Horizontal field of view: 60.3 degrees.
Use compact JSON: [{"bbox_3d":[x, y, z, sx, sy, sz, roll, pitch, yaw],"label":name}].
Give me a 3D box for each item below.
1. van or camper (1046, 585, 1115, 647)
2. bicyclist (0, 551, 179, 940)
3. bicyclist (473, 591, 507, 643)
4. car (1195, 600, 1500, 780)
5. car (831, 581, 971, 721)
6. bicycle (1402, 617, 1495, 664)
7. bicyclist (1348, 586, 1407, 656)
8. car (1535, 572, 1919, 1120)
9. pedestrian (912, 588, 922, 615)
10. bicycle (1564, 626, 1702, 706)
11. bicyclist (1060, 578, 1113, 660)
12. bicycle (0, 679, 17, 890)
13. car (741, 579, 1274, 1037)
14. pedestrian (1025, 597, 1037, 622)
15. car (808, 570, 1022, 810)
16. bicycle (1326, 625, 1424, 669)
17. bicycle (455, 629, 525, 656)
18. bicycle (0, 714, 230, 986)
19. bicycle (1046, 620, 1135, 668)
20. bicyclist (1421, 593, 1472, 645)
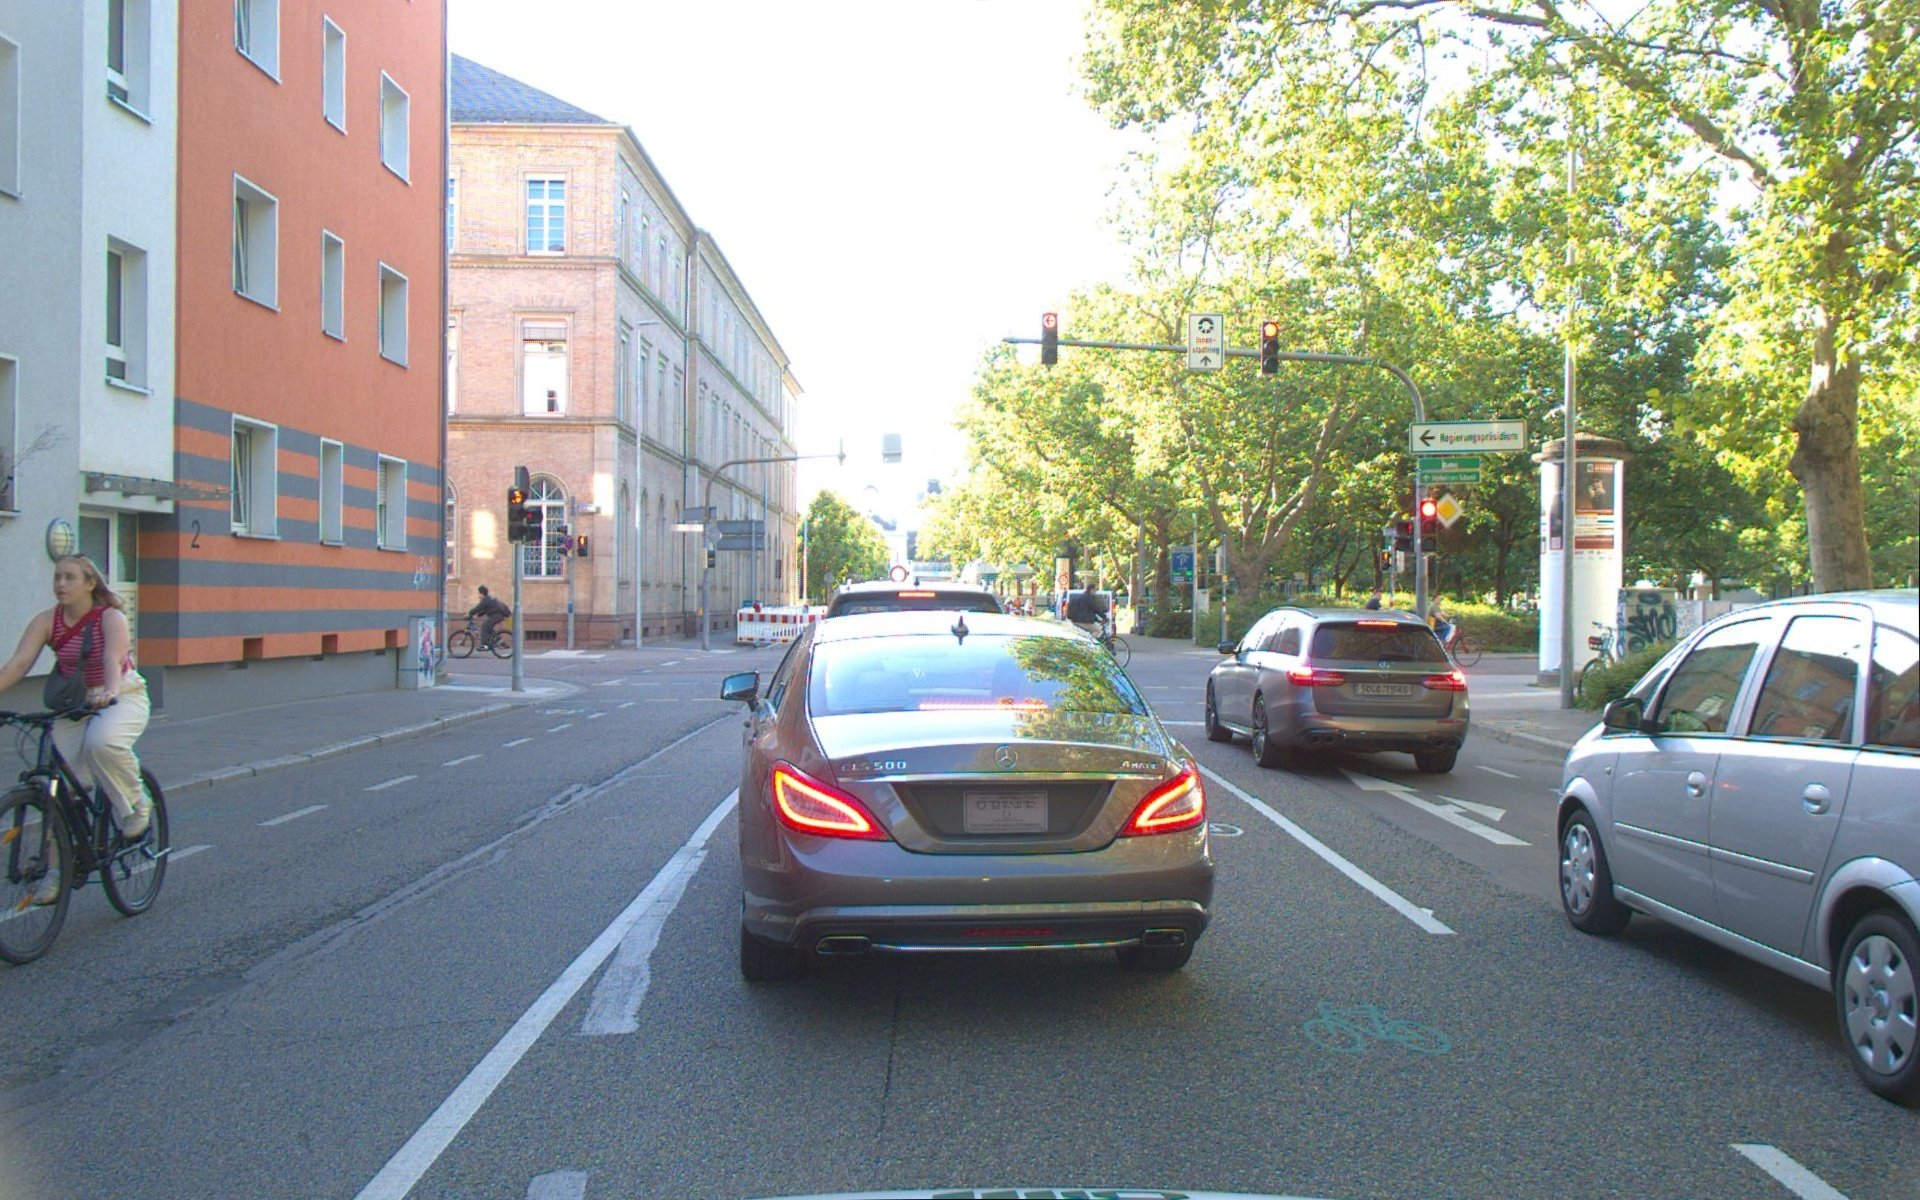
[{"bbox_3d":[4.009,0.500,55.636,1.953,1.975,4.593,1,0,-1],"label":"van or camper"},{"bbox_3d":[-4.015,0.599,7.327,0.671,1.605,0.981,0,0,-4],"label":"bicyclist"},{"bbox_3d":[-11.558,0.410,40.643,0.689,1.282,0.458,0,0,3],"label":"bicyclist"},{"bbox_3d":[3.672,0.779,16.588,1.874,1.490,4.668,1,0,-1],"label":"car"},{"bbox_3d":[-0.781,0.647,23.228,1.783,1.793,3.999,0,0,-1],"label":"car"},{"bbox_3d":[11.189,0.930,37.893,1.939,1.045,0.652,0,0,0],"label":"bicycle"},{"bbox_3d":[9.114,0.447,36.147,1.094,1.516,0.711,0,0,-1],"label":"bicyclist"},{"bbox_3d":[3.729,0.738,6.469,1.666,1.631,3.860,1,0,1],"label":"car"},{"bbox_3d":[-3.146,0.109,120.207,0.706,1.935,0.704,1,0,-1],"label":"pedestrian"},{"bbox_3d":[9.678,0.947,23.816,1.766,1.116,0.510,0,0,2],"label":"bicycle"},{"bbox_3d":[2.631,0.394,34.430,0.995,1.671,0.607,1,0,-7],"label":"bicyclist"},{"bbox_3d":[-5.386,0.968,7.852,0.846,1.097,1.835,1,0,-4],"label":"bicycle"},{"bbox_3d":[-0.108,0.673,7.639,1.769,1.482,4.343,1,0,-8],"label":"car"},{"bbox_3d":[4.173,0.572,97.028,0.635,1.458,0.659,0,0,-1],"label":"pedestrian"},{"bbox_3d":[-0.409,0.633,13.634,1.487,1.675,3.878,1,0,-3],"label":"car"},{"bbox_3d":[9.054,1.024,36.133,1.946,0.919,0.733,0,0,-2],"label":"bicycle"},{"bbox_3d":[-11.545,1.036,40.643,1.554,0.646,0.496,0,0,3],"label":"bicycle"},{"bbox_3d":[-4.013,1.056,7.488,0.679,0.945,1.862,0,0,-4],"label":"bicycle"},{"bbox_3d":[2.716,0.910,34.436,1.760,0.963,0.613,1,0,-7],"label":"bicycle"},{"bbox_3d":[11.143,0.441,37.894,0.971,1.174,0.620,0,0,1],"label":"bicyclist"}]
